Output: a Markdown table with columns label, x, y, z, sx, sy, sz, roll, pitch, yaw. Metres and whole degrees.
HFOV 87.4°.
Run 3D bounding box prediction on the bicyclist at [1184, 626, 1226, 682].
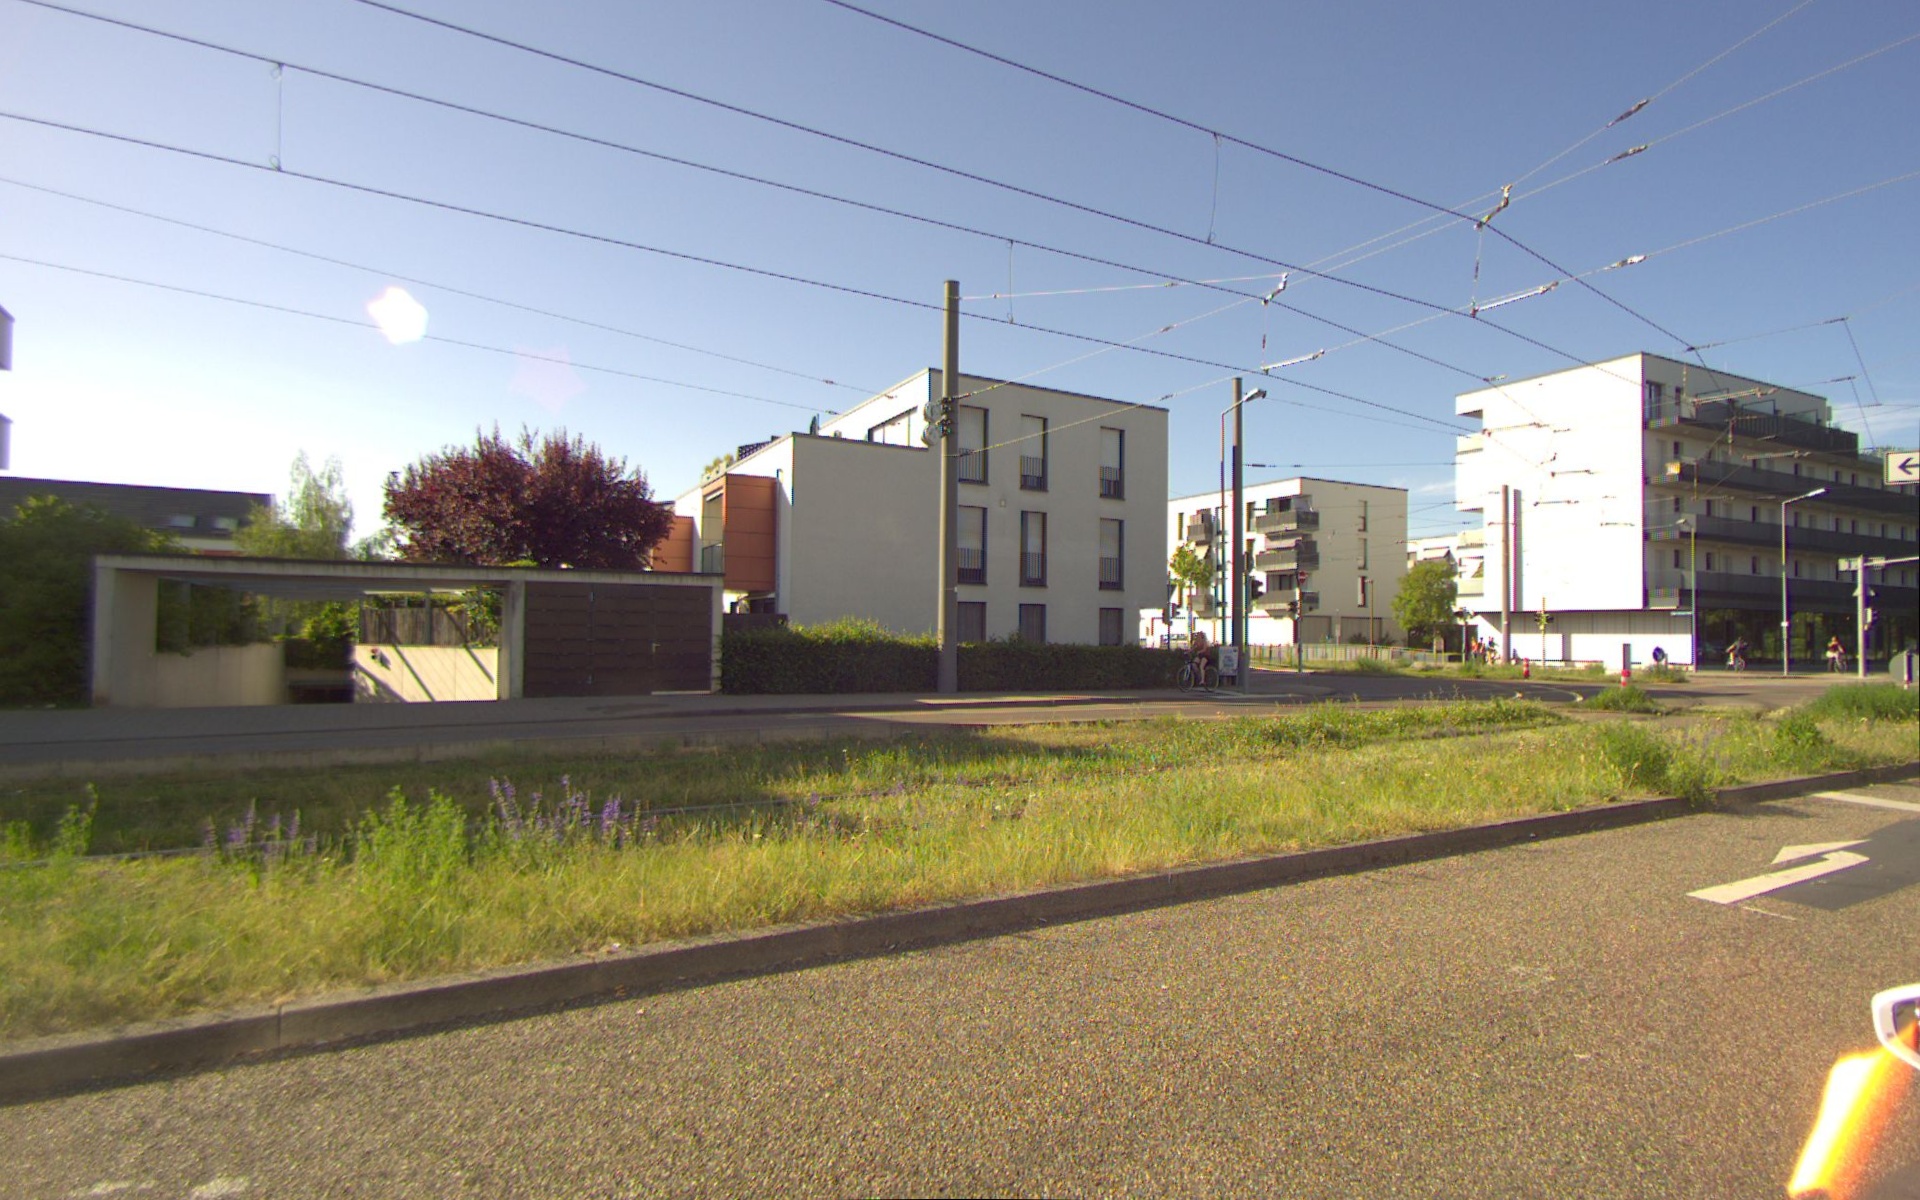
| label | x | y | z | sx | sy | sz | roll | pitch | yaw |
| --- | --- | --- | --- | --- | --- | --- | --- | --- | --- |
| bicyclist | 6.824 | 1.498 | 28.033 | 0.739 | 1.510 | 0.883 | 2 | -2 | -36 |

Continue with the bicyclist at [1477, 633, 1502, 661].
| label | x | y | z | sx | sy | sz | roll | pitch | yaw |
| --- | --- | --- | --- | --- | --- | --- | --- | --- | --- |
| bicyclist | 30.538 | 2.689 | 57.929 | 0.900 | 1.613 | 0.891 | 1 | -2 | -21 |

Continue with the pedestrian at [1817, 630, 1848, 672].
| label | x | y | z | sx | sy | sz | roll | pitch | yaw |
| --- | --- | --- | --- | --- | --- | --- | --- | --- | --- |
| pedestrian | 42.997 | 2.500 | 49.508 | 0.752 | 2.040 | 0.972 | 2 | -2 | -32 |

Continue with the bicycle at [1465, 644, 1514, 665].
| label | x | y | z | sx | sy | sz | roll | pitch | yaw |
| --- | --- | --- | --- | --- | --- | --- | --- | --- | --- |
| bicycle | 30.523 | 3.146 | 57.912 | 2.783 | 1.214 | 0.899 | 1 | -2 | -21 |

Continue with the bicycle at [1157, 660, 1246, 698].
| label | x | y | z | sx | sy | sz | roll | pitch | yaw |
| --- | --- | --- | --- | --- | --- | --- | --- | --- | --- |
| bicycle | 6.783 | 2.188 | 28.151 | 2.664 | 0.923 | 1.027 | 2 | 0 | -39 |

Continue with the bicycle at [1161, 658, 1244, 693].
| label | x | y | z | sx | sy | sz | roll | pitch | yaw |
| --- | --- | --- | --- | --- | --- | --- | --- | --- | --- |
| bicycle | 6.775 | 2.092 | 27.982 | 2.460 | 0.904 | 0.893 | 2 | -3 | -37 |

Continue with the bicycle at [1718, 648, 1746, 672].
| label | x | y | z | sx | sy | sz | roll | pitch | yaw |
| --- | --- | --- | --- | --- | --- | --- | --- | --- | --- |
| bicycle | 38.599 | 2.981 | 50.218 | 0.731 | 1.159 | 1.642 | 0 | -2 | 25 |

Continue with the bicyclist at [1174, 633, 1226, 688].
| label | x | y | z | sx | sy | sz | roll | pitch | yaw |
| --- | --- | --- | --- | --- | --- | --- | --- | --- | --- |
| bicyclist | 6.711 | 1.679 | 28.095 | 0.946 | 1.450 | 1.010 | 2 | 0 | -38 |

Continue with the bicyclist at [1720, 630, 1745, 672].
| label | x | y | z | sx | sy | sz | roll | pitch | yaw |
| --- | --- | --- | --- | --- | --- | --- | --- | --- | --- |
| bicyclist | 38.582 | 2.538 | 50.195 | 0.796 | 2.040 | 0.794 | 0 | -2 | 25 |
